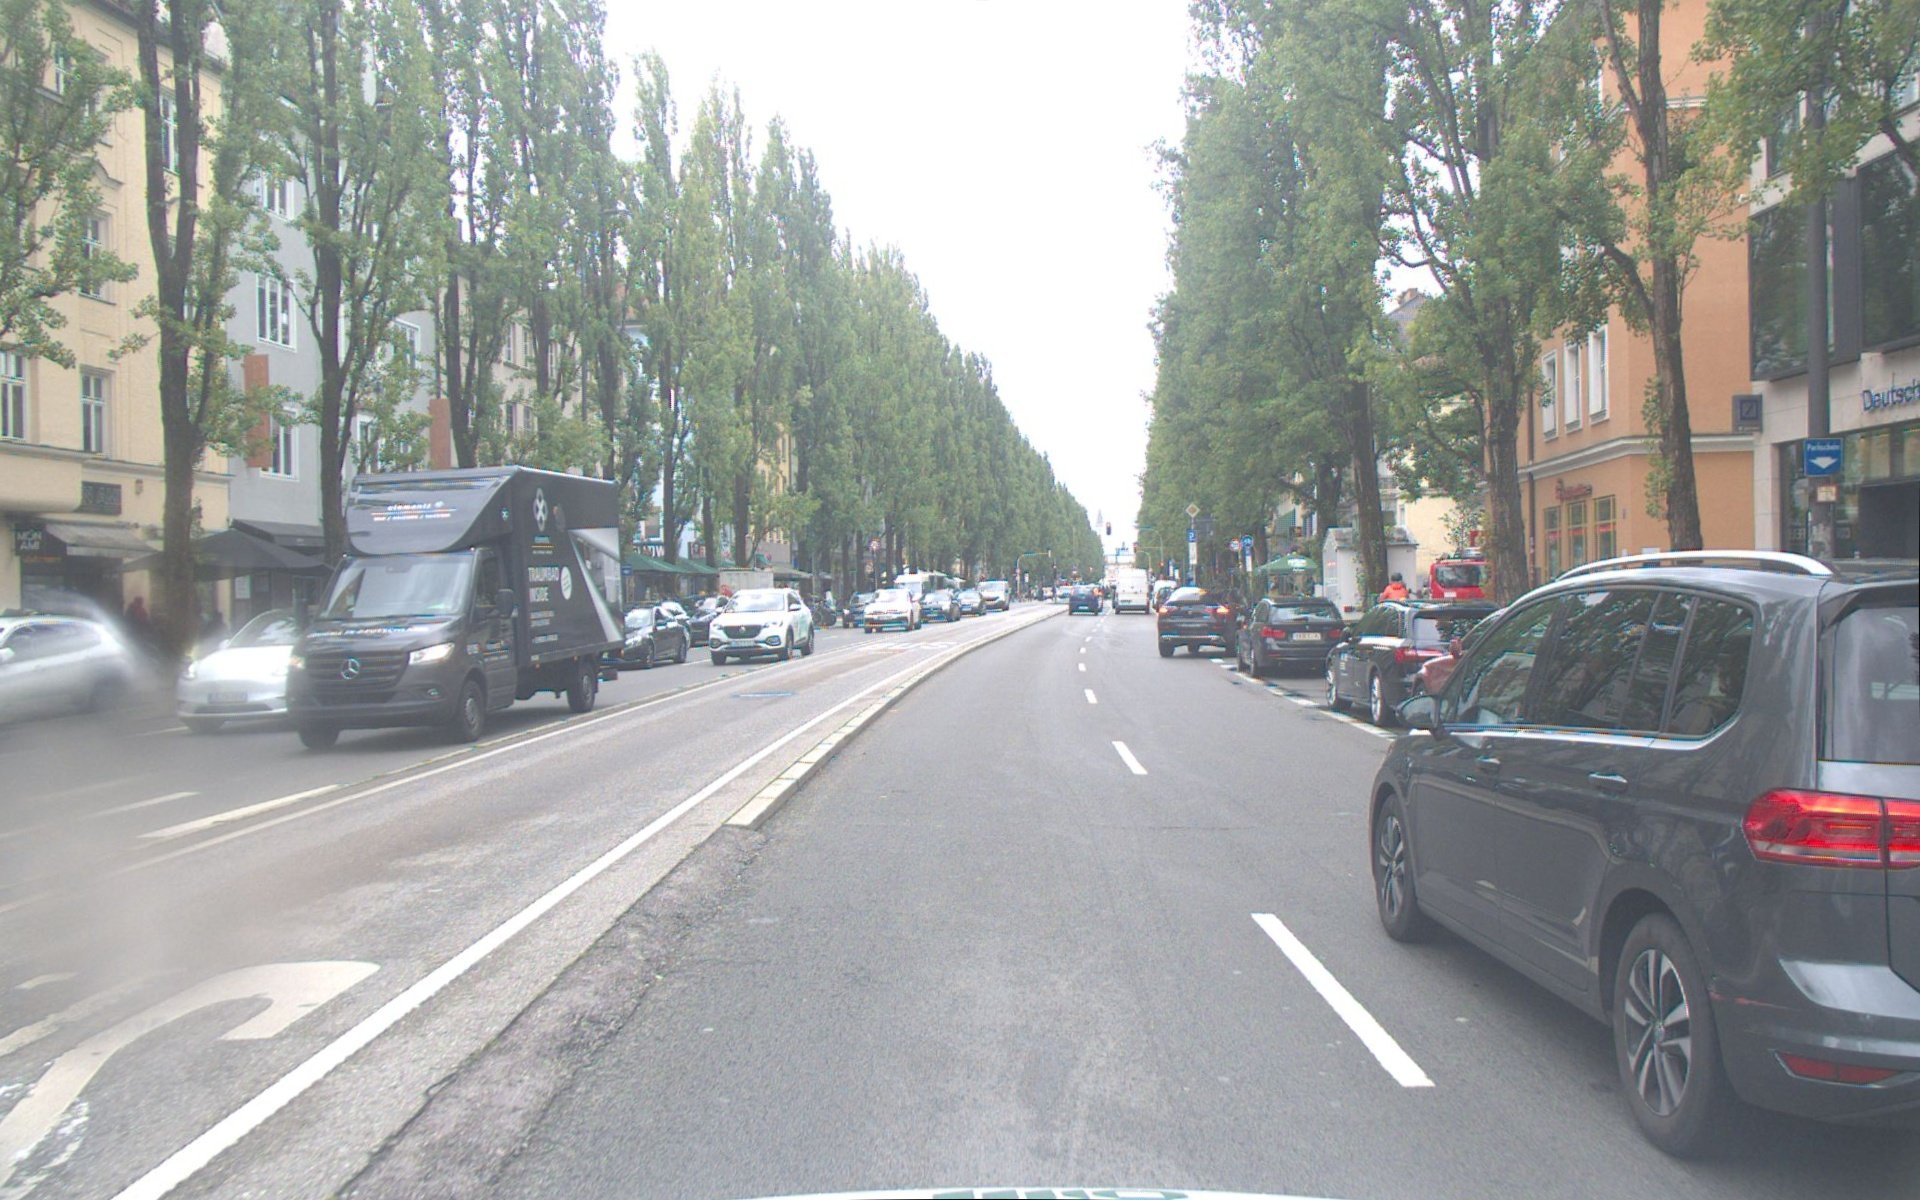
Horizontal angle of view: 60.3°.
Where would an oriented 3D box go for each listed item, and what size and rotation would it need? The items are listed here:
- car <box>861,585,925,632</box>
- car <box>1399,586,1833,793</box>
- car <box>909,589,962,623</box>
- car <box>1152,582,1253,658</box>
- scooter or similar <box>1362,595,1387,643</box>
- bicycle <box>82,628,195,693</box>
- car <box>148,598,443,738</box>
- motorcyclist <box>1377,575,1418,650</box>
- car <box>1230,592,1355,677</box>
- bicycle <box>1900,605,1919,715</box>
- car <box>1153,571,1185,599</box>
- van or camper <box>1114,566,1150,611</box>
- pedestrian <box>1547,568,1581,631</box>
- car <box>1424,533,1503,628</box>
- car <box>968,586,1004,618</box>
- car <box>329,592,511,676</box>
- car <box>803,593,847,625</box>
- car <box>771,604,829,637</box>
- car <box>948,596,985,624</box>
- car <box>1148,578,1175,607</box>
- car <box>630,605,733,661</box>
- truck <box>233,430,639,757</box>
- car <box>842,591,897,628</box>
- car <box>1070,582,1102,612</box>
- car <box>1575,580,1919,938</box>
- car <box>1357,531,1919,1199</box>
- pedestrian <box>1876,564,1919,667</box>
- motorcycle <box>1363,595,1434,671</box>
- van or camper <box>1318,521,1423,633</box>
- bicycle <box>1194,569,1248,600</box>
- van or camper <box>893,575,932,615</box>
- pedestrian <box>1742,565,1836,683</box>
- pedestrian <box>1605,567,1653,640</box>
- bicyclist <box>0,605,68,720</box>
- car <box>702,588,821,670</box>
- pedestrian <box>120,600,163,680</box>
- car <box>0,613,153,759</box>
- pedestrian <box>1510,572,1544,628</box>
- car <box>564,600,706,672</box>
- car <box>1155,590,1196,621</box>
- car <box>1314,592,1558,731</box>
[{"bbox_3d":[-2.547,0.298,63.852,1.898,1.671,4.466,-2,0,5],"label":"car"},{"bbox_3d":[5.495,0.647,14.639,1.891,1.475,4.804,-1,0,0],"label":"car"},{"bbox_3d":[-1.132,0.259,78.933,1.951,1.457,4.775,-2,0,5],"label":"car"},{"bbox_3d":[5.879,0.436,39.698,1.841,1.670,4.586,-1,0,15],"label":"car"},{"bbox_3d":[11.370,0.510,45.314,0.514,1.254,1.477,-3,0,18],"label":"scooter or similar"},{"bbox_3d":[-15.193,1.124,30.585,2.080,1.120,0.505,-2,0,19],"label":"bicycle"},{"bbox_3d":[-9.257,0.876,23.540,1.951,1.680,4.639,-2,0,5],"label":"car"},{"bbox_3d":[8.520,0.234,32.229,0.552,1.431,0.766,-2,0,2],"label":"motorcyclist"},{"bbox_3d":[6.180,0.587,31.159,1.697,1.418,4.435,-2,0,4],"label":"car"},{"bbox_3d":[10.870,0.668,17.810,0.446,1.208,1.715,-2,0,-2],"label":"bicycle"},{"bbox_3d":[12.895,-0.911,102.196,1.766,1.624,4.002,0,0,5],"label":"car"},{"bbox_3d":[9.979,-0.636,95.967,1.991,2.519,4.002,-1,-1,5],"label":"van or camper"},{"bbox_3d":[16.058,-0.014,43.984,0.714,1.654,0.805,-2,0,15],"label":"pedestrian"},{"bbox_3d":[13.570,-0.538,44.599,1.861,2.368,4.828,-2,0,17],"label":"car"},{"bbox_3d":[1.732,0.132,109.082,1.951,1.967,4.921,-3,-1,5],"label":"car"},{"bbox_3d":[-10.895,0.644,33.709,1.898,1.519,4.299,-1,1,6],"label":"car"},{"bbox_3d":[-6.103,0.372,75.035,1.480,1.368,3.239,-1,0,5],"label":"car"},{"bbox_3d":[-6.712,0.844,69.771,1.772,1.272,3.703,-1,0,5],"label":"car"},{"bbox_3d":[0.383,0.517,90.788,1.675,1.438,3.725,-2,0,5],"label":"car"},{"bbox_3d":[14.542,-0.515,119.438,1.766,2.027,4.002,0,0,5],"label":"car"},{"bbox_3d":[-8.465,0.979,50.597,1.951,1.508,4.323,-2,0,6],"label":"car"},{"bbox_3d":[-6.273,-0.092,21.145,2.243,3.380,7.162,-2,0,5],"label":"truck"},{"bbox_3d":[-4.026,0.431,74.351,1.809,1.592,4.214,-2,-1,5],"label":"car"},{"bbox_3d":[7.044,-0.133,92.314,1.722,1.648,3.749,0,0,6],"label":"car"},{"bbox_3d":[5.132,0.681,9.099,1.773,1.526,4.807,-2,0,1],"label":"car"},{"bbox_3d":[2.758,0.656,5.751,1.725,1.642,4.183,0,0,0],"label":"car"},{"bbox_3d":[15.560,0.239,27.114,0.720,1.649,0.839,-2,0,14],"label":"pedestrian"},{"bbox_3d":[8.485,0.612,32.090,0.809,1.394,2.253,-2,0,2],"label":"motorcycle"},{"bbox_3d":[12.443,-0.687,50.477,2.408,3.166,4.719,-2,0,6],"label":"van or camper"},{"bbox_3d":[17.738,-1.064,112.413,3.473,2.049,1.298,0,-1,14],"label":"bicycle"},{"bbox_3d":[-3.056,-0.312,107.508,1.951,2.501,4.254,-1,0,5],"label":"van or camper"},{"bbox_3d":[11.693,0.328,23.355,0.817,1.604,0.938,-2,0,-2],"label":"pedestrian"},{"bbox_3d":[14.800,0.085,36.599,0.596,1.578,0.710,-2,0,-22],"label":"pedestrian"},{"bbox_3d":[-13.493,0.888,23.910,0.486,1.608,1.108,-1,0,4],"label":"bicyclist"},{"bbox_3d":[-4.607,0.628,38.998,1.821,1.741,4.539,-2,0,5],"label":"car"},{"bbox_3d":[-18.327,0.888,37.048,0.527,1.777,0.756,-1,0,5],"label":"pedestrian"},{"bbox_3d":[-12.103,1.055,20.162,1.951,1.658,4.385,-2,0,7],"label":"car"},{"bbox_3d":[17.125,0.000,50.006,0.803,1.641,0.780,-2,0,8],"label":"pedestrian"},{"bbox_3d":[-7.435,0.782,38.313,1.898,1.459,4.542,-2,0,6],"label":"car"},{"bbox_3d":[11.358,0.270,87.414,1.903,1.493,4.002,-2,0,4],"label":"car"},{"bbox_3d":[5.594,0.649,20.017,1.808,1.453,4.427,-1,0,2],"label":"car"}]
